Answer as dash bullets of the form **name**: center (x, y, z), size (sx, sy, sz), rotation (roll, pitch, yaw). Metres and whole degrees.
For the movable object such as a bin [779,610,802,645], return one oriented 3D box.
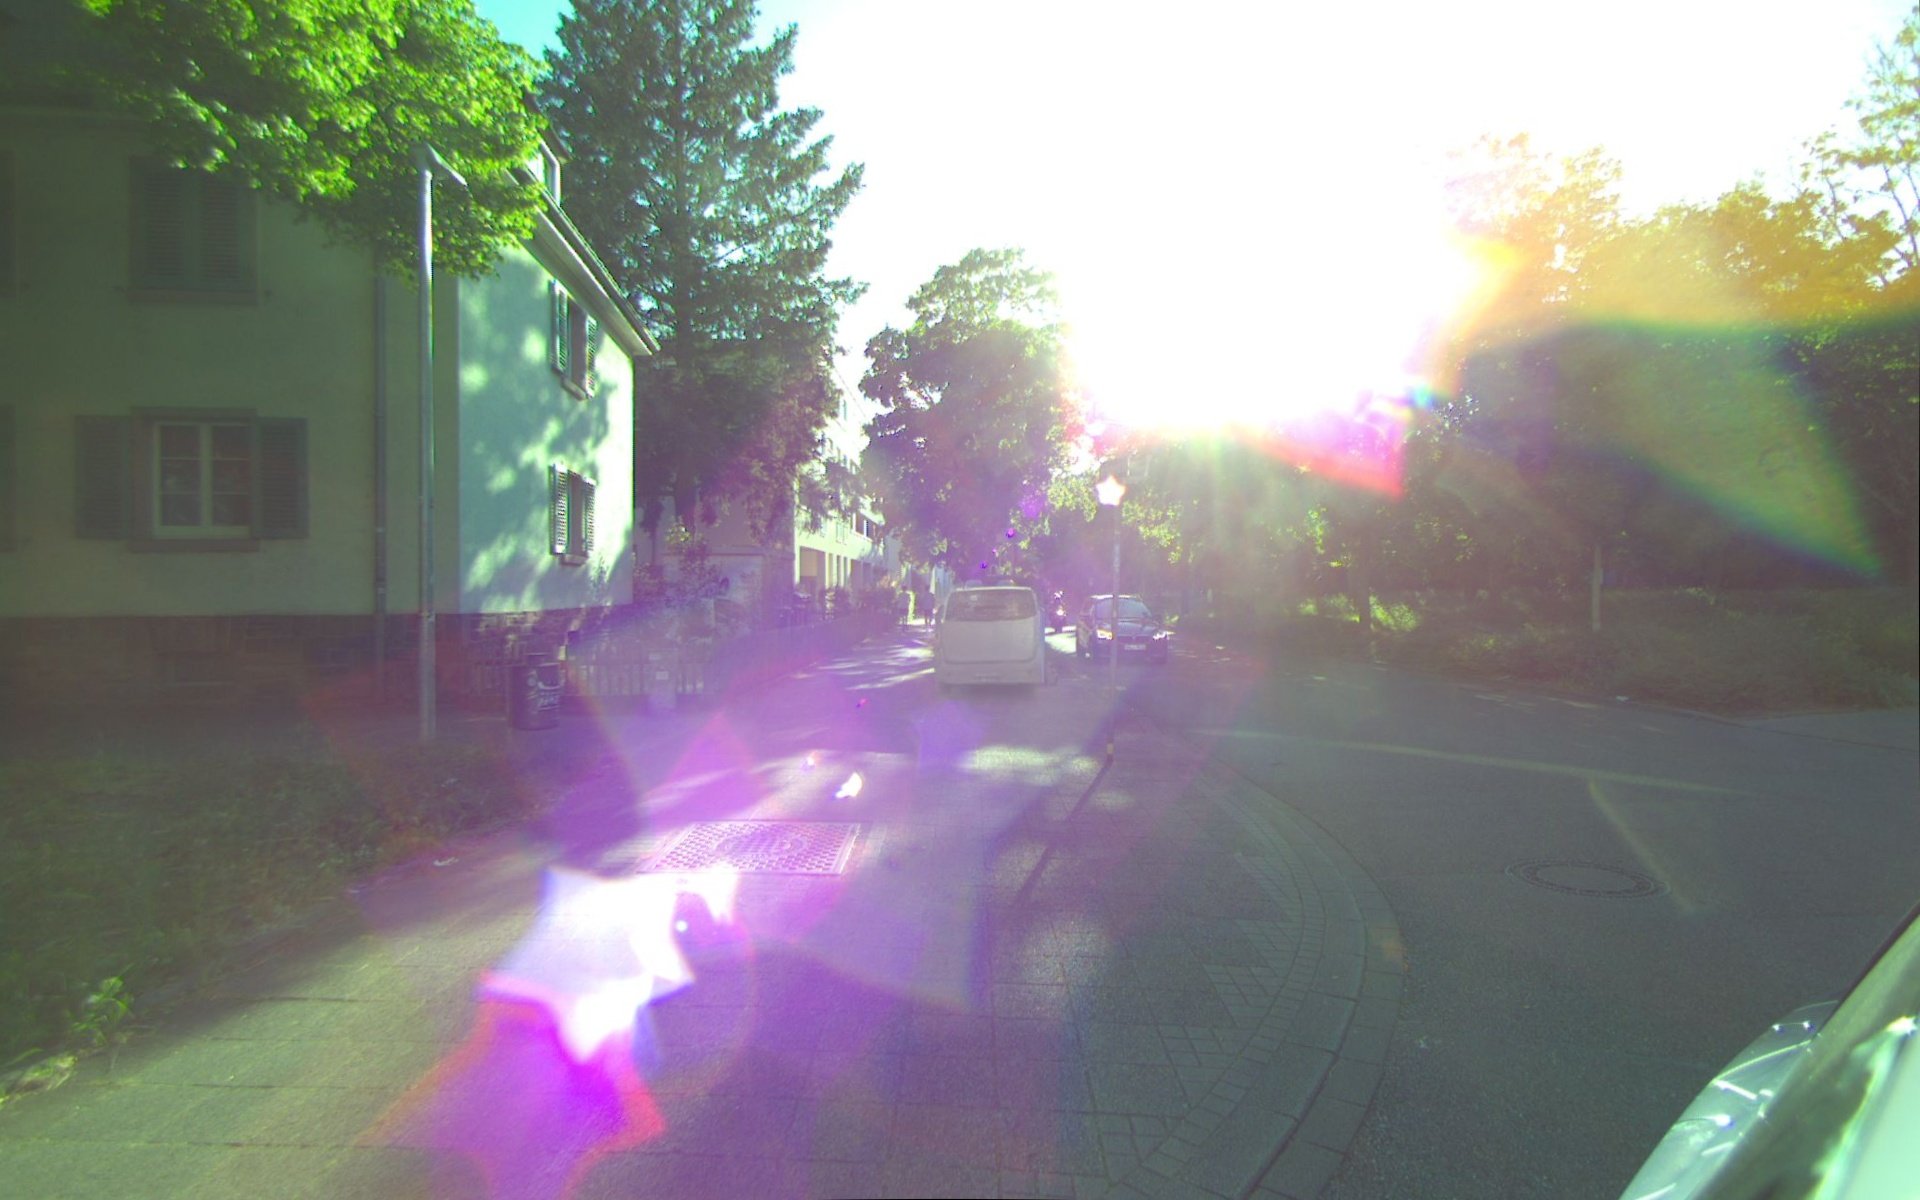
- **movable object such as a bin**: center (-5.258, 0.849, 31.460), size (0.604, 1.042, 0.595), rotation (0, 0, 0)

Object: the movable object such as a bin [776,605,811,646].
- **movable object such as a bin**: center (-6.070, 0.919, 36.984), size (1.061, 1.445, 1.366), rotation (0, 0, 0)

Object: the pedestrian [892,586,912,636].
- **pedestrian**: center (-2.277, 0.425, 39.592), size (0.632, 1.918, 1.018), rotation (-2, 0, 1)

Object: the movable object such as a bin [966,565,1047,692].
- **movable object such as a bin**: center (0.695, 0.417, 15.754), size (1.129, 1.850, 1.386), rotation (-2, 0, 0)

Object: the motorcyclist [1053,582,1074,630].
- **motorcyclist**: center (4.465, 0.241, 43.742), size (0.744, 2.039, 0.890), rotation (-2, 0, 0)

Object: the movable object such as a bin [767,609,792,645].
- **movable object such as a bin**: center (-5.283, 0.794, 29.659), size (0.633, 1.042, 0.645), rotation (0, 0, 0)

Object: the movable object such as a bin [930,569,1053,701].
- **movable object such as a bin**: center (0.416, 0.457, 14.205), size (1.561, 1.678, 1.640), rotation (-2, 0, 0)

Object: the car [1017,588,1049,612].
- **car**: center (4.951, -0.026, 69.205), size (1.963, 1.559, 3.998), rotation (-2, 0, 2)

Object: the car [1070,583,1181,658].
- **car**: center (3.999, 0.446, 25.227), size (1.855, 1.642, 4.620), rotation (-2, 0, -1)

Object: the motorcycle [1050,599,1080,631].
- **motorcycle**: center (4.484, 0.601, 43.603), size (0.870, 1.249, 3.999), rotation (-2, 0, 0)

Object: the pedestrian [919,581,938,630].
- **pedestrian**: center (-1.255, 0.207, 40.484), size (0.662, 1.918, 0.895), rotation (-2, 0, 1)

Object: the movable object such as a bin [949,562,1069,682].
- **movable object such as a bin**: center (0.796, 0.355, 17.144), size (1.890, 1.877, 1.393), rotation (-2, 0, 0)
